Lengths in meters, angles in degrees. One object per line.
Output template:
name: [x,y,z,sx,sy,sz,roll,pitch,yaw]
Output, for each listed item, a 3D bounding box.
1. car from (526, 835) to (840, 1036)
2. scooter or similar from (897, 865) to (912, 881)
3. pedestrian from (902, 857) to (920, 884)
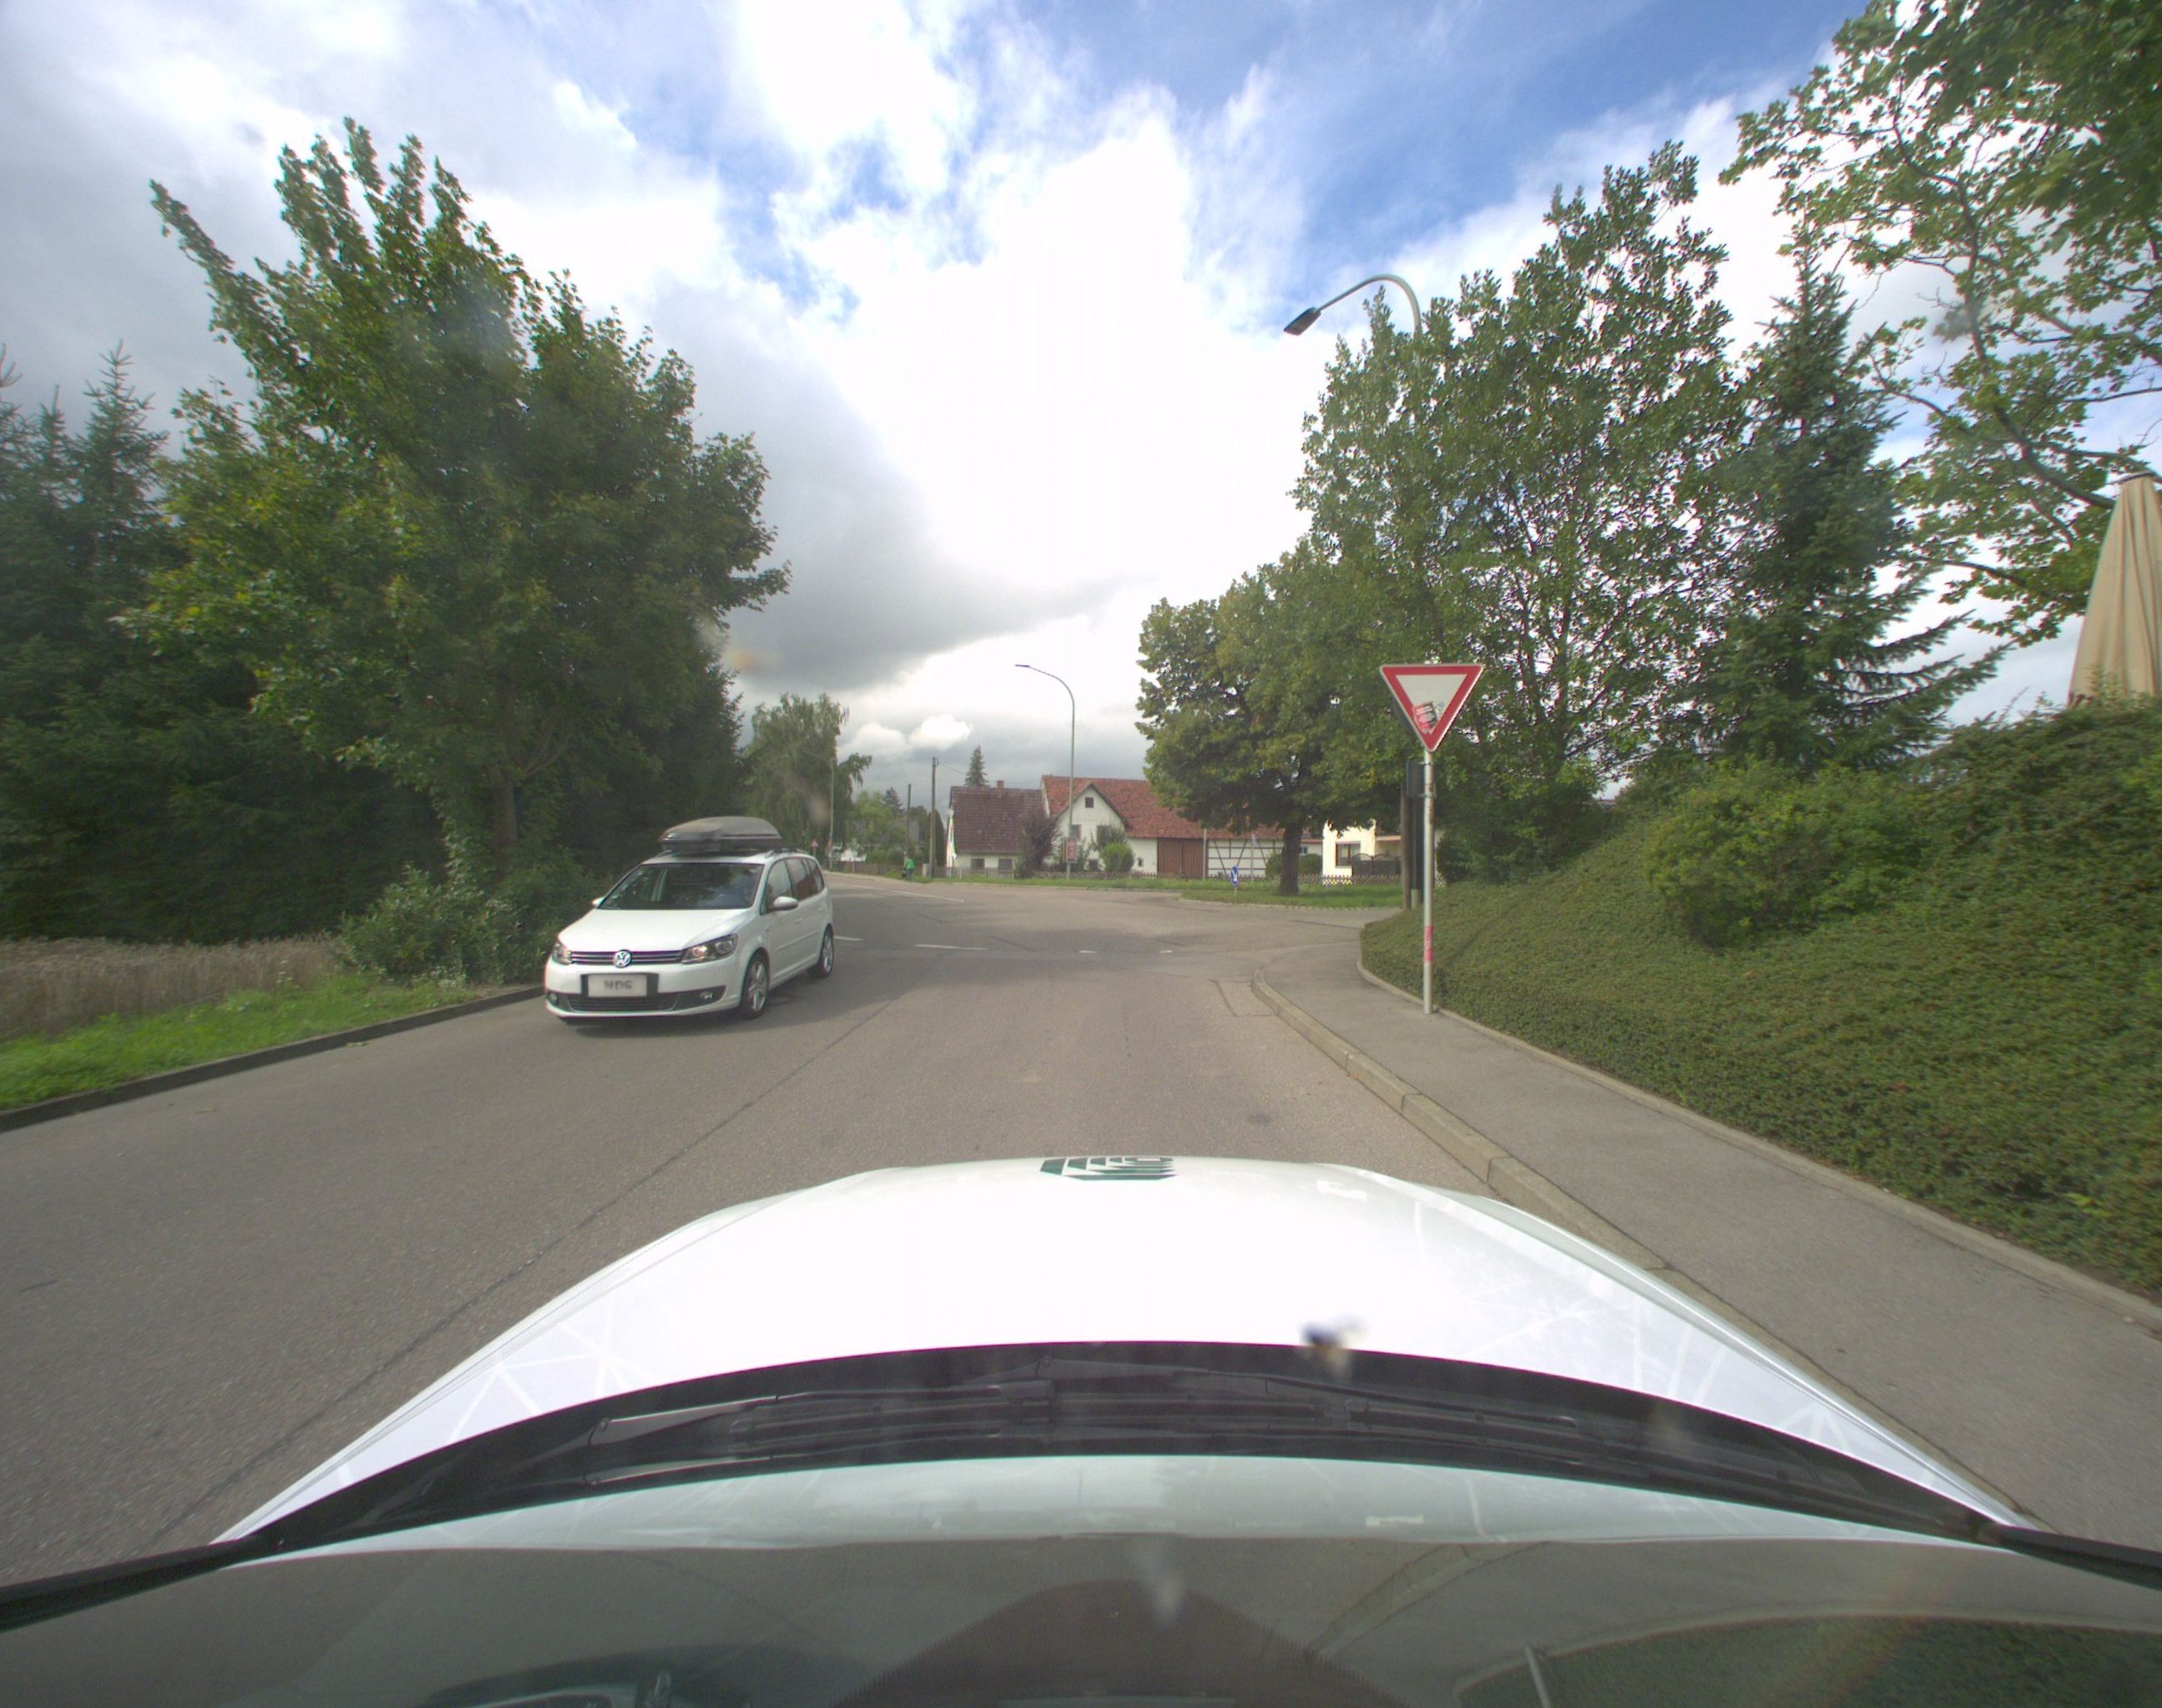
car: [-3.952,0.695,8.910,1.696,1.665,4.026,0,0,-4]
scooter or similar: [-11.242,1.186,51.856,0.635,0.948,0.616,6,-3,-32]
pedestrian: [-10.726,1.033,51.345,0.793,1.665,0.705,6,-3,-32]
